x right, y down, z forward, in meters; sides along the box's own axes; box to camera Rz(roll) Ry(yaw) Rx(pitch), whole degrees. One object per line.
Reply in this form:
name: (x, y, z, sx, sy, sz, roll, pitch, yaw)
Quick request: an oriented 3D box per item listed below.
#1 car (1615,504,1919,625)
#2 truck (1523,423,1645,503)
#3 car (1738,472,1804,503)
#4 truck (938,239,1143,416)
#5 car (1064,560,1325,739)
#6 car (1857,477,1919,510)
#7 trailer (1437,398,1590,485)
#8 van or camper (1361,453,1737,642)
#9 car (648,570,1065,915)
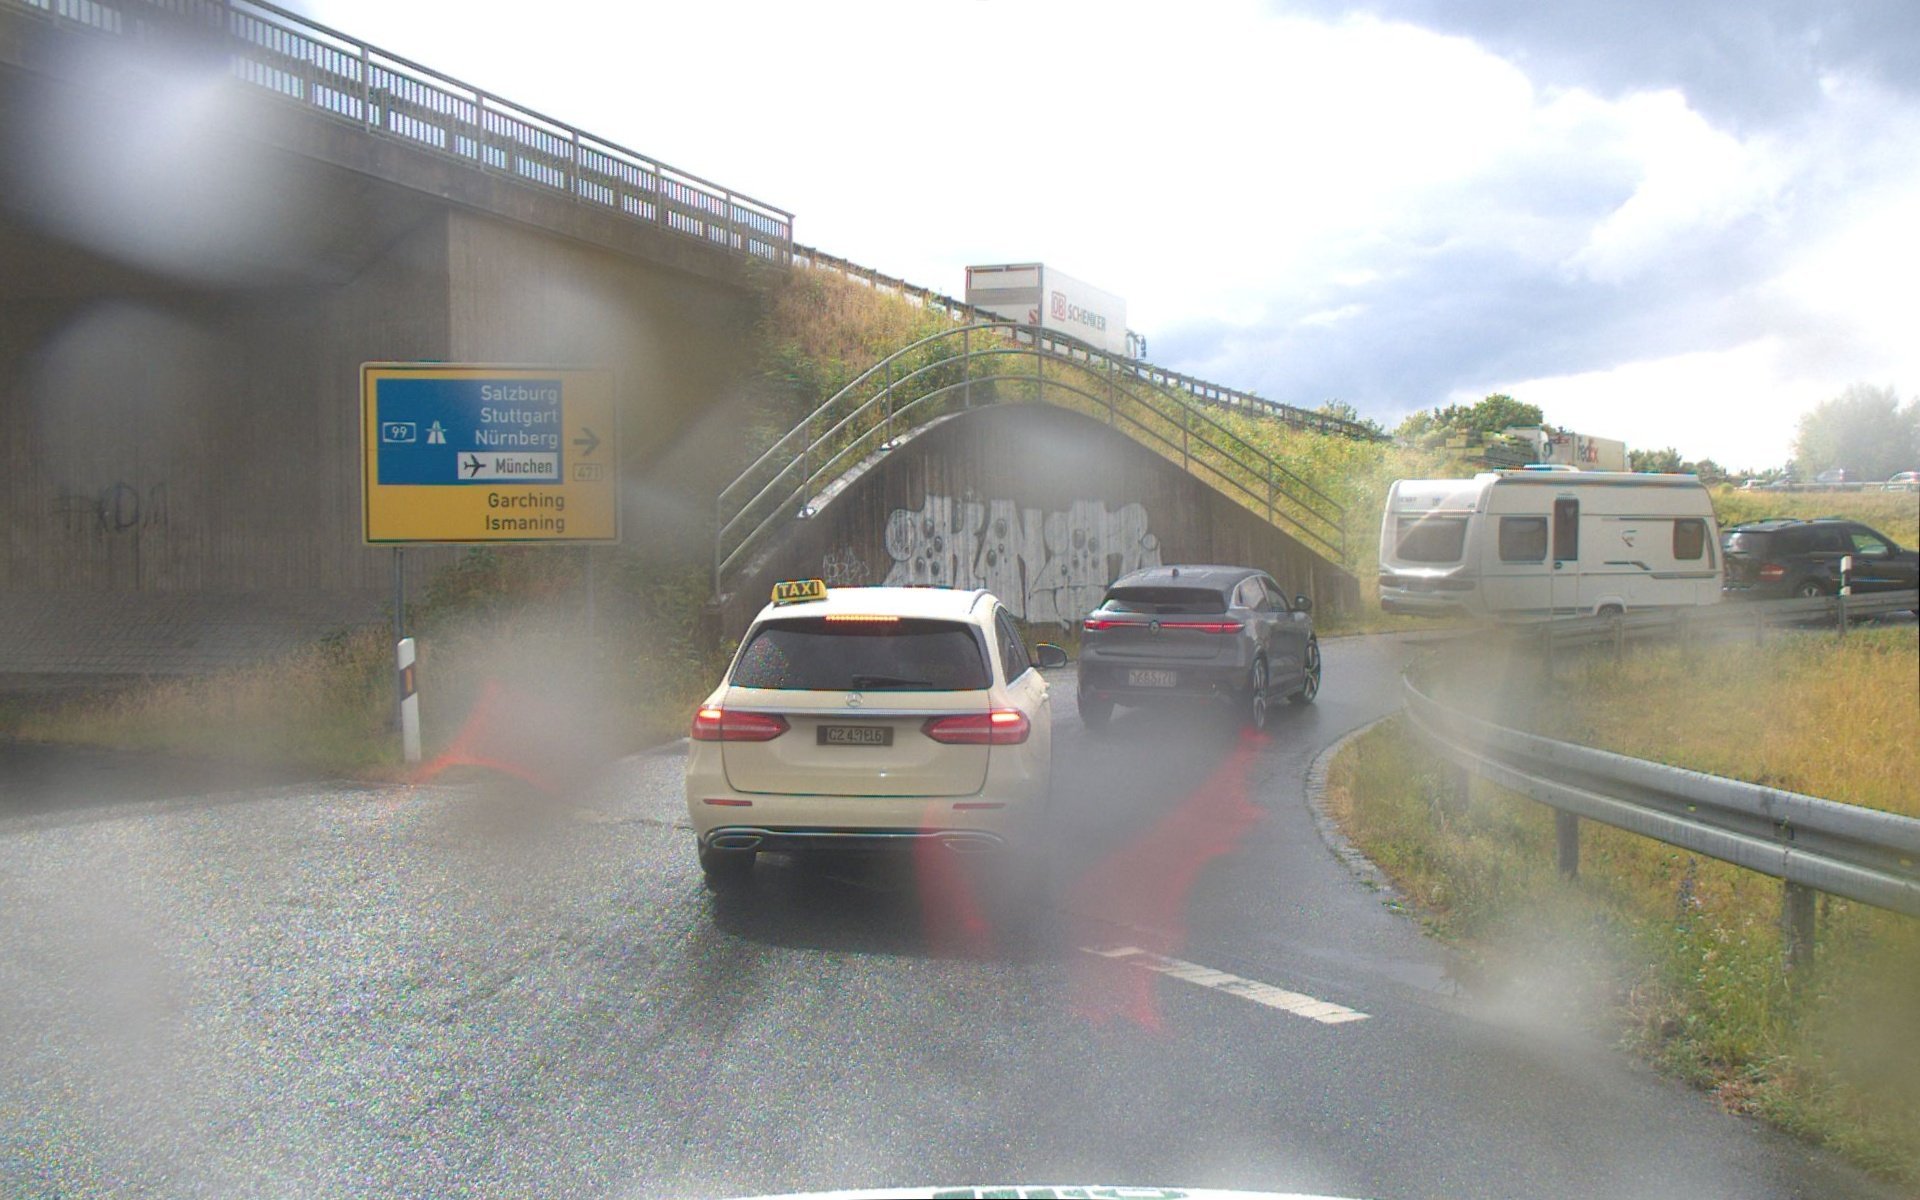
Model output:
car: (14.675, -0.697, 29.167, 5.657, 1.958, 2.423, -2, 3, -20)
truck: (47.161, -10.076, 124.431, 4.382, 4.581, 19.318, 1, 1, 33)
car: (59.738, -8.255, 121.880, 1.983, 2.049, 3.938, -1, 1, -42)
truck: (2.727, -8.256, 51.647, 3.117, 4.035, 9.231, 1, 1, 25)
car: (2.505, 0.385, 16.808, 1.683, 1.551, 4.000, 1, 2, 22)
car: (64.319, -7.325, 114.003, 1.969, 2.049, 3.967, -1, 1, -26)
trailer: (36.504, -10.111, 108.118, 4.336, 4.024, 20.157, 1, 1, 34)
van or camper: (9.589, -0.920, 26.852, 5.912, 2.776, 2.417, -2, 3, -28)
car: (-0.326, 0.619, 9.698, 1.876, 1.533, 4.598, 0, 0, 4)
